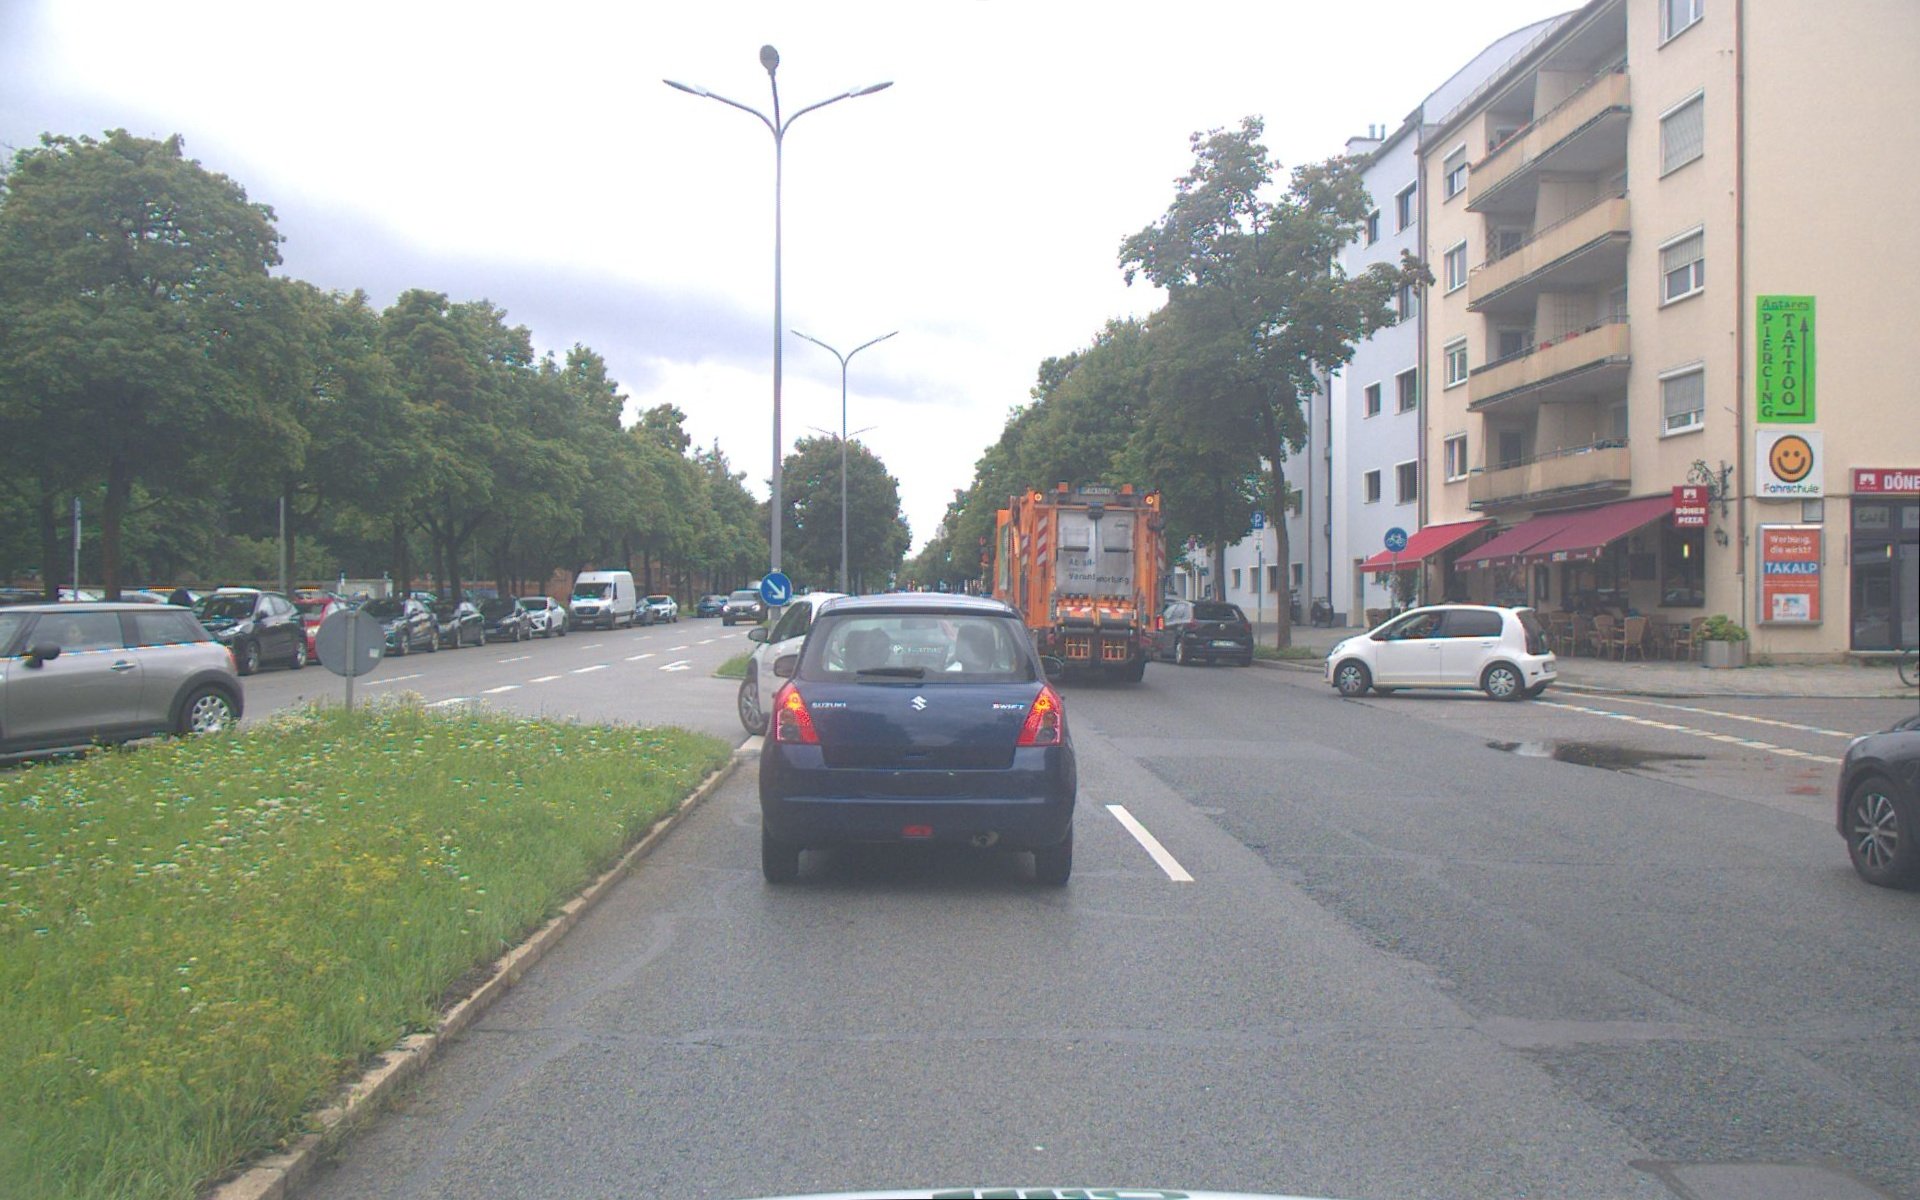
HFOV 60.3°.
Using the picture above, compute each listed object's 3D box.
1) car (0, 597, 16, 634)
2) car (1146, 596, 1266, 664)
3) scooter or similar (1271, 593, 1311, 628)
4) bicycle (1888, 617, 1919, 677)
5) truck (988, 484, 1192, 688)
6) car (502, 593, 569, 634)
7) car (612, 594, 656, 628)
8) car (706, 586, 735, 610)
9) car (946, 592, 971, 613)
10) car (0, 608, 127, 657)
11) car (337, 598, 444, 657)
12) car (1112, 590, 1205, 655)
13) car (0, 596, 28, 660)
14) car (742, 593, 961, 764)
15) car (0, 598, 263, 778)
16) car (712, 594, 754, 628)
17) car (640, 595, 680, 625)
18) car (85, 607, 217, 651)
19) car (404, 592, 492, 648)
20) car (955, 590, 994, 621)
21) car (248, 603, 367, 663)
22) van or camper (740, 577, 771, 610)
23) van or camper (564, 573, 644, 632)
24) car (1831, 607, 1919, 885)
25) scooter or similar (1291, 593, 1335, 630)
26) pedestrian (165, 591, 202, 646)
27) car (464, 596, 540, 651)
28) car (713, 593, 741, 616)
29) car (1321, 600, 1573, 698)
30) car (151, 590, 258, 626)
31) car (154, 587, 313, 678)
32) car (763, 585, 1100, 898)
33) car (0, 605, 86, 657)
[{"bbox_3d":[-39.838,0.572,64.878,4.596,1.471,1.672,1,0,-1],"label":"car"},{"bbox_3d":[5.644,0.656,38.441,1.829,1.442,4.220,0,0,-5],"label":"car"},{"bbox_3d":[13.008,0.388,65.121,1.012,1.330,2.754,0,0,-1],"label":"scooter or similar"},{"bbox_3d":[16.296,0.781,27.173,1.810,0.974,0.557,1,0,-3],"label":"bicycle"},{"bbox_3d":[2.187,-0.247,31.290,2.977,3.245,9.131,1,0,-1],"label":"truck"},{"bbox_3d":[-15.742,0.497,61.509,1.600,1.456,3.877,1,0,-2],"label":"car"},{"bbox_3d":[-16.452,0.544,83.551,1.600,1.610,3.877,1,0,-2],"label":"car"},{"bbox_3d":[-16.519,-0.128,114.229,1.600,1.610,3.877,1,0,-2],"label":"car"},{"bbox_3d":[-0.132,0.181,117.282,1.648,1.408,3.917,1,0,-2],"label":"car"},{"bbox_3d":[-28.903,1.020,52.770,3.793,1.471,1.670,1,0,-7],"label":"car"},{"bbox_3d":[-15.212,0.707,44.369,1.634,1.471,3.877,1,0,-2],"label":"car"},{"bbox_3d":[5.136,0.546,43.195,1.756,1.585,4.222,0,0,-2],"label":"car"},{"bbox_3d":[-28.290,0.746,45.864,3.844,1.748,1.670,1,0,-7],"label":"car"},{"bbox_3d":[-1.159,0.694,16.441,1.422,1.509,3.089,0,0,-19],"label":"car"},{"bbox_3d":[-8.397,0.739,14.831,1.651,1.488,3.726,1,0,31],"label":"car"},{"bbox_3d":[-10.901,0.505,79.489,1.600,1.580,3.877,1,0,-2],"label":"car"},{"bbox_3d":[-16.512,0.543,91.199,1.600,1.610,3.877,1,0,-2],"label":"car"},{"bbox_3d":[-28.466,0.998,58.309,3.793,1.471,1.670,1,0,-7],"label":"car"},{"bbox_3d":[-15.376,0.575,49.805,1.559,1.585,3.877,1,0,-2],"label":"car"},{"bbox_3d":[0.690,0.242,81.522,1.723,1.438,4.461,1,0,-2],"label":"car"},{"bbox_3d":[-15.362,0.757,39.091,1.559,1.335,3.379,1,0,-2],"label":"car"},{"bbox_3d":[-21.256,-0.641,172.291,2.510,3.353,6.934,1,0,-2],"label":"van or camper"},{"bbox_3d":[-16.198,0.114,75.680,2.074,2.525,7.447,1,0,-1],"label":"van or camper"},{"bbox_3d":[5.990,0.812,7.927,1.584,1.491,3.673,2,0,-2],"label":"car"},{"bbox_3d":[13.090,0.412,61.351,1.012,1.330,2.754,0,0,-1],"label":"scooter or similar"},{"bbox_3d":[-22.330,0.517,47.588,0.713,1.561,0.720,1,0,-1],"label":"pedestrian"},{"bbox_3d":[-15.509,0.770,56.179,1.600,1.771,3.877,1,0,-2],"label":"car"},{"bbox_3d":[-16.908,0.336,120.131,1.600,1.610,3.877,1,0,-2],"label":"car"},{"bbox_3d":[7.765,0.731,26.447,3.486,1.442,1.866,0,0,34],"label":"car"},{"bbox_3d":[-32.086,0.346,70.336,3.793,1.471,1.670,1,0,-7],"label":"car"},{"bbox_3d":[-14.996,0.641,34.359,1.682,1.771,3.877,1,0,-2],"label":"car"},{"bbox_3d":[-0.222,0.680,10.079,1.648,1.528,3.917,0,0,-3],"label":"car"},{"bbox_3d":[-28.159,0.889,48.822,3.793,1.471,1.670,1,0,-7],"label":"car"}]
